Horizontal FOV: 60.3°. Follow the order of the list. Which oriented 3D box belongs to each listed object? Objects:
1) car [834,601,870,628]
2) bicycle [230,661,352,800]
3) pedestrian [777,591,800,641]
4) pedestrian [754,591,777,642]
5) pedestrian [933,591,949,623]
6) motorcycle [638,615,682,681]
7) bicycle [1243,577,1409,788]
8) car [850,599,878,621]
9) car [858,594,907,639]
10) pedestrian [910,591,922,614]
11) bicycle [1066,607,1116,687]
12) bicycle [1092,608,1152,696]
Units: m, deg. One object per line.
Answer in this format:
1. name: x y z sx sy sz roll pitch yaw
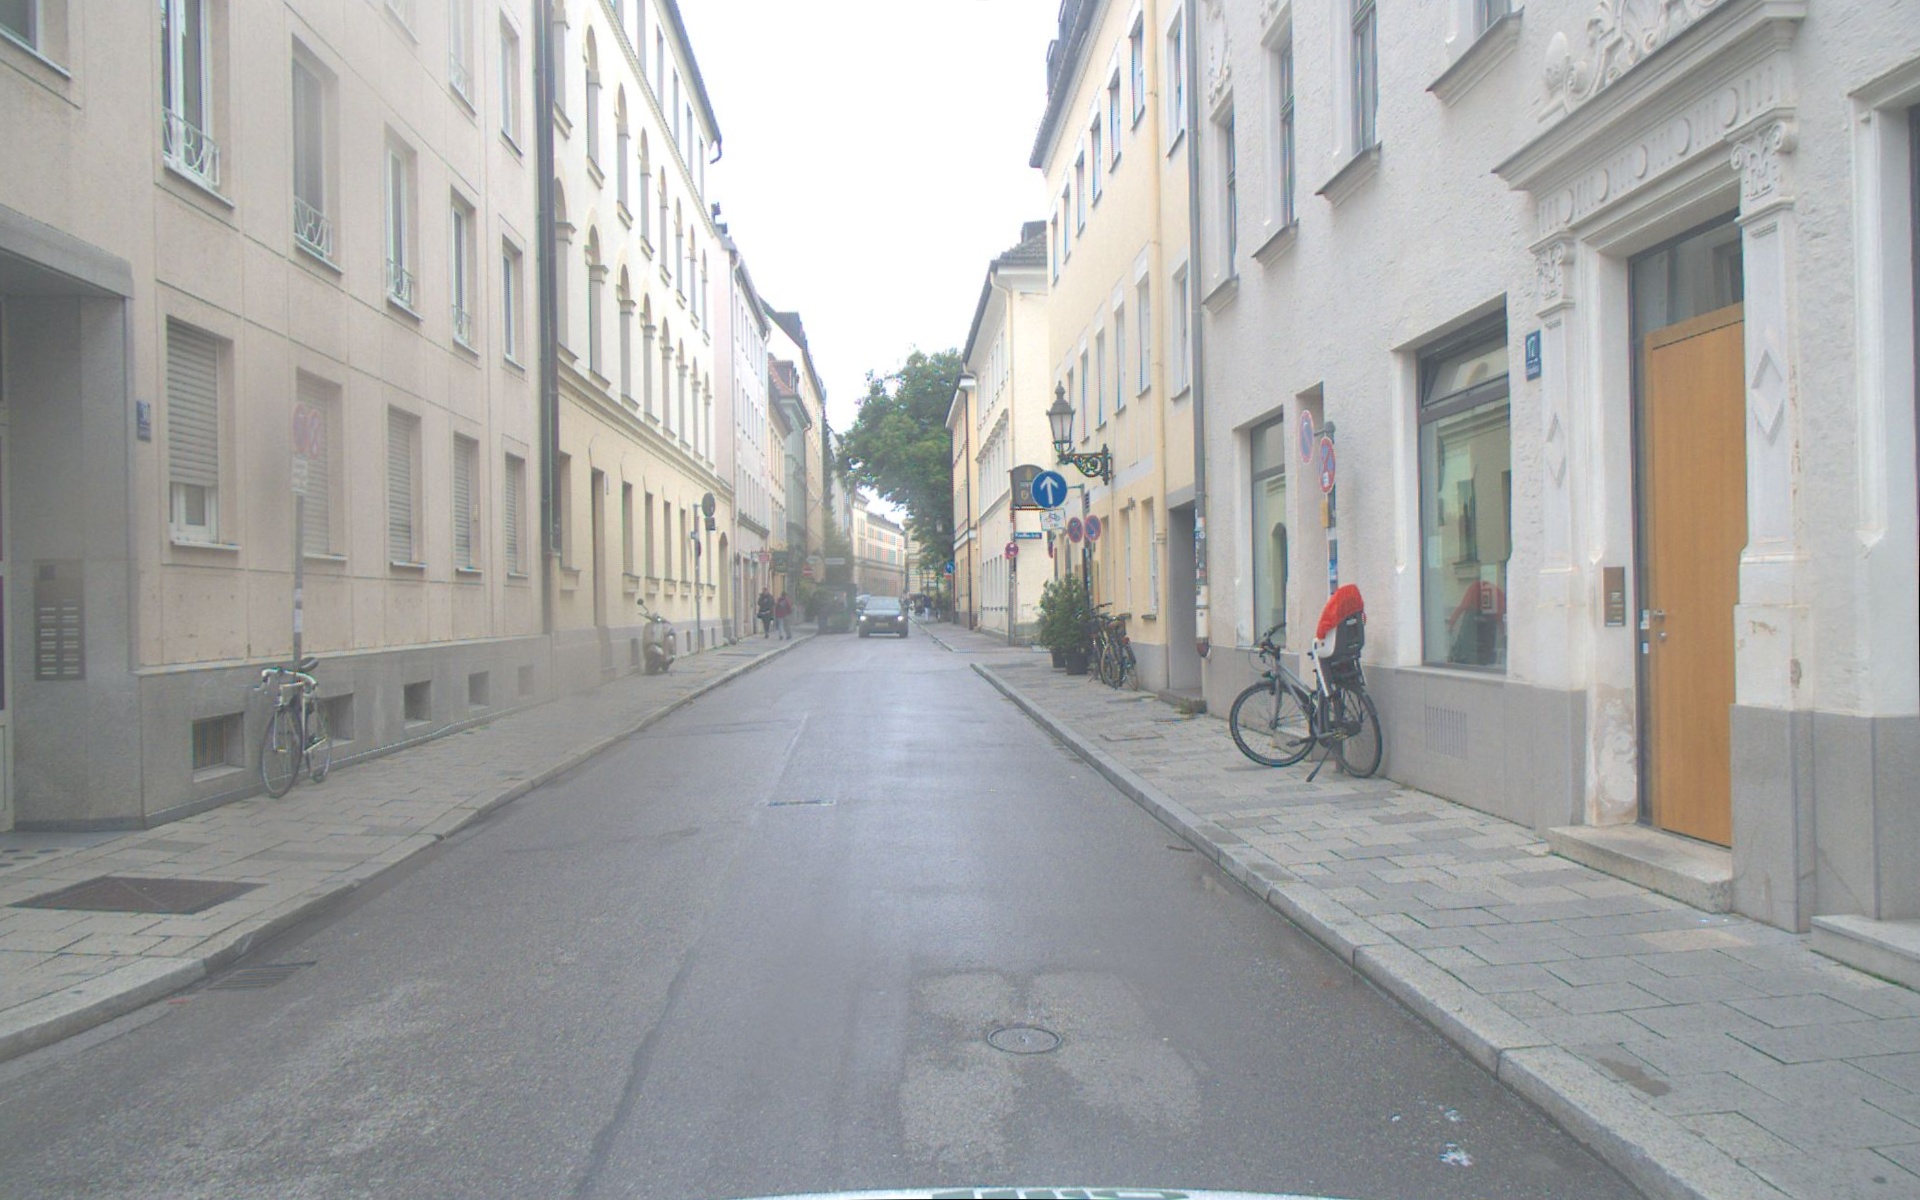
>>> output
1. car: -6.136 0.821 94.272 1.743 1.492 3.663 0 0 0
2. bicycle: -5.256 1.000 13.060 0.313 0.960 1.573 2 0 -1
3. pedestrian: -6.099 0.558 58.857 0.751 1.738 0.784 -1 0 -5
4. pedestrian: -6.991 0.589 59.460 0.793 1.786 0.989 0 1 -5
5. pedestrian: -1.071 0.395 94.008 0.862 1.833 1.046 0 0 -2
6. motorcycle: -5.662 0.883 31.281 0.590 1.194 1.708 0 0 -2
7. bicycle: 2.717 0.565 12.515 0.699 1.420 2.121 -3 0 0
8. car: -6.627 0.699 114.660 1.743 1.492 3.542 0 0 0
9. car: -2.933 0.605 63.018 1.776 1.621 3.998 -1 0 -2
10. pedestrian: -3.519 0.181 132.834 0.995 1.833 1.348 0 0 -2
11. bicycle: 2.029 0.712 25.796 0.554 1.156 1.683 -3 0 -2
12. bicycle: 2.290 0.716 23.588 0.554 1.156 1.987 -3 0 -2
